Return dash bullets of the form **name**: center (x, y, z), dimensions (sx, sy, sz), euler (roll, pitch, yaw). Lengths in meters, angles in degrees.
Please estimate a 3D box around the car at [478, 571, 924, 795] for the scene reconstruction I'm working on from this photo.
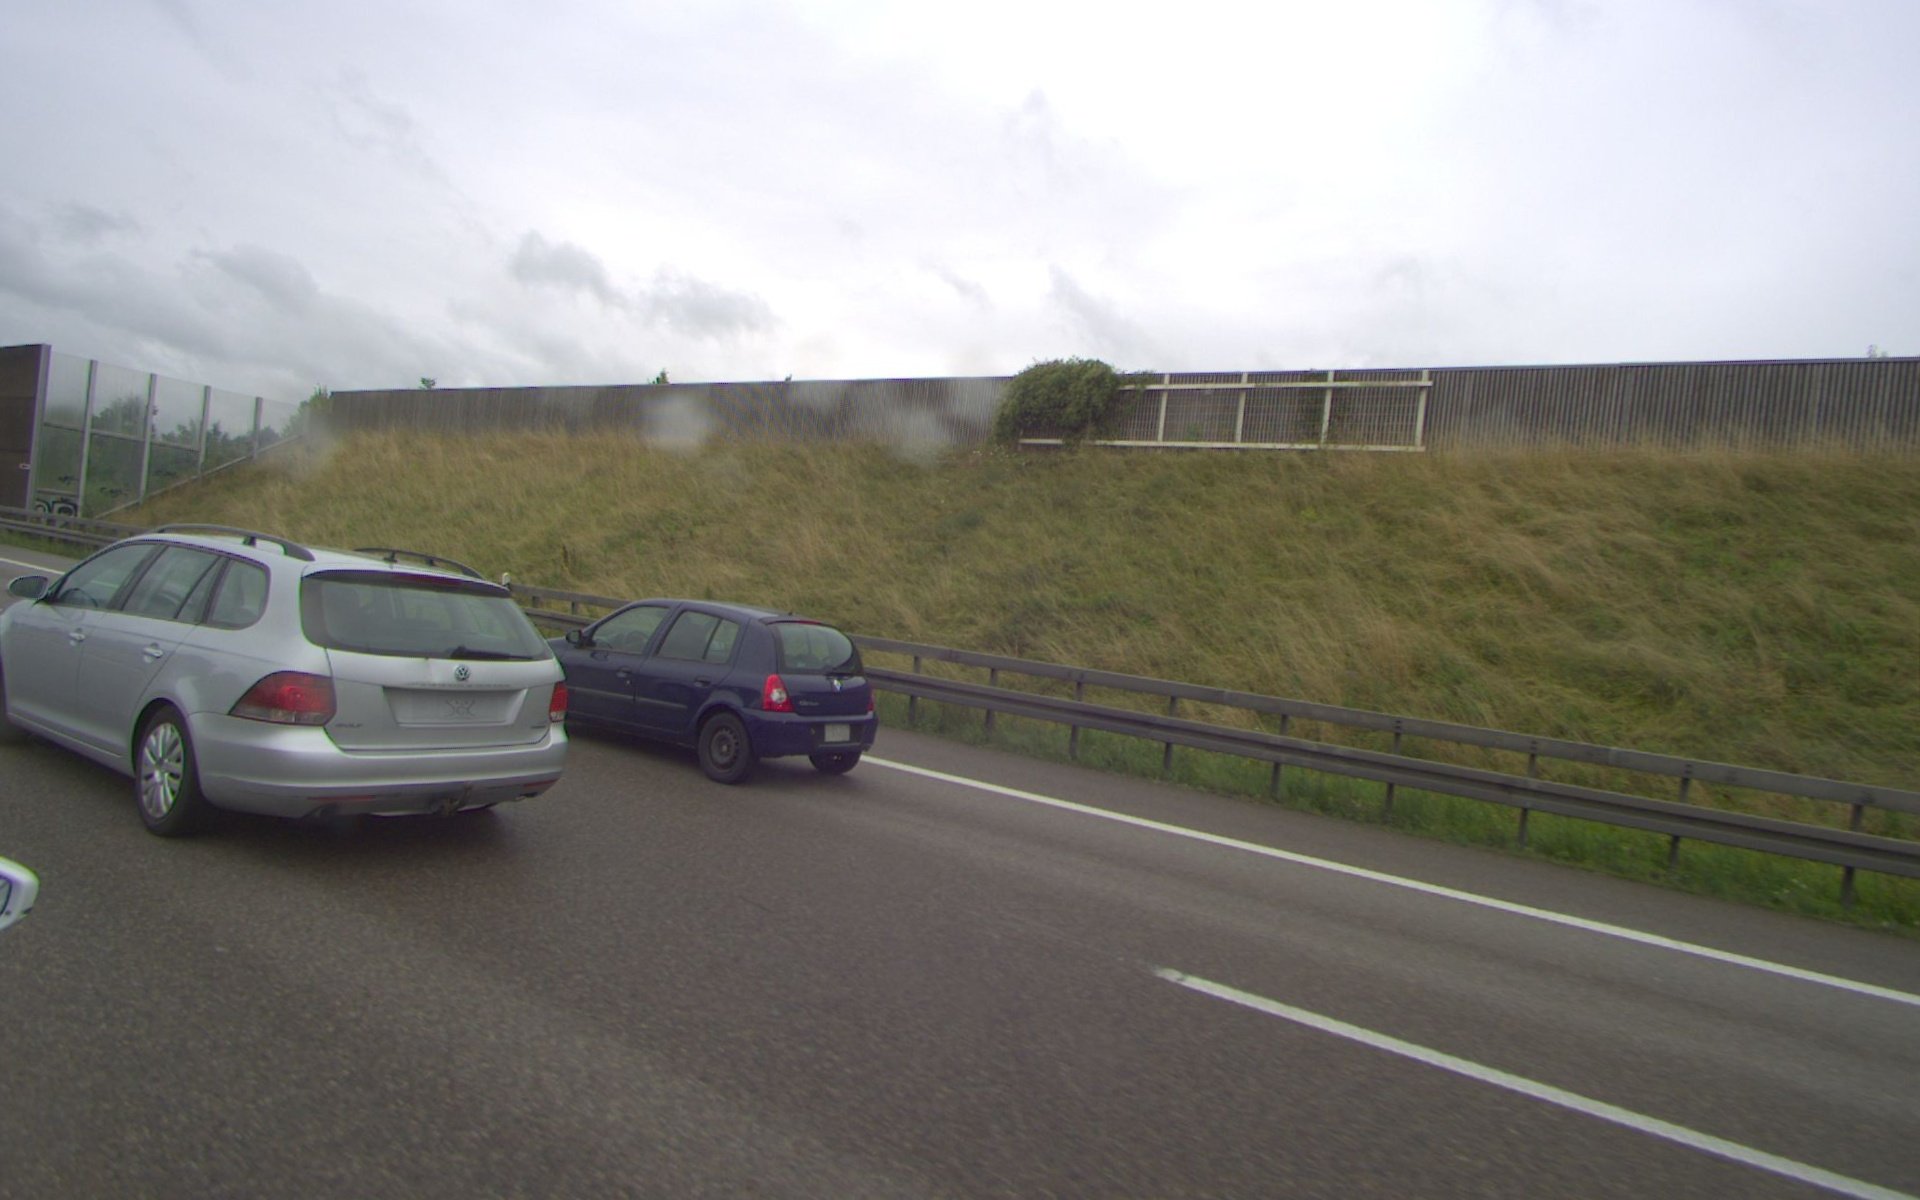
- **car**: center (-2.454, 0.682, 9.319), dimensions (3.811, 1.417, 1.706), euler (6, -2, 31)

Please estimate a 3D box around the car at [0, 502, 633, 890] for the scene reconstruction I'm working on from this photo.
- **car**: center (-4.232, 0.332, 6.053), dimensions (4.442, 1.442, 1.744), euler (7, 0, 32)
